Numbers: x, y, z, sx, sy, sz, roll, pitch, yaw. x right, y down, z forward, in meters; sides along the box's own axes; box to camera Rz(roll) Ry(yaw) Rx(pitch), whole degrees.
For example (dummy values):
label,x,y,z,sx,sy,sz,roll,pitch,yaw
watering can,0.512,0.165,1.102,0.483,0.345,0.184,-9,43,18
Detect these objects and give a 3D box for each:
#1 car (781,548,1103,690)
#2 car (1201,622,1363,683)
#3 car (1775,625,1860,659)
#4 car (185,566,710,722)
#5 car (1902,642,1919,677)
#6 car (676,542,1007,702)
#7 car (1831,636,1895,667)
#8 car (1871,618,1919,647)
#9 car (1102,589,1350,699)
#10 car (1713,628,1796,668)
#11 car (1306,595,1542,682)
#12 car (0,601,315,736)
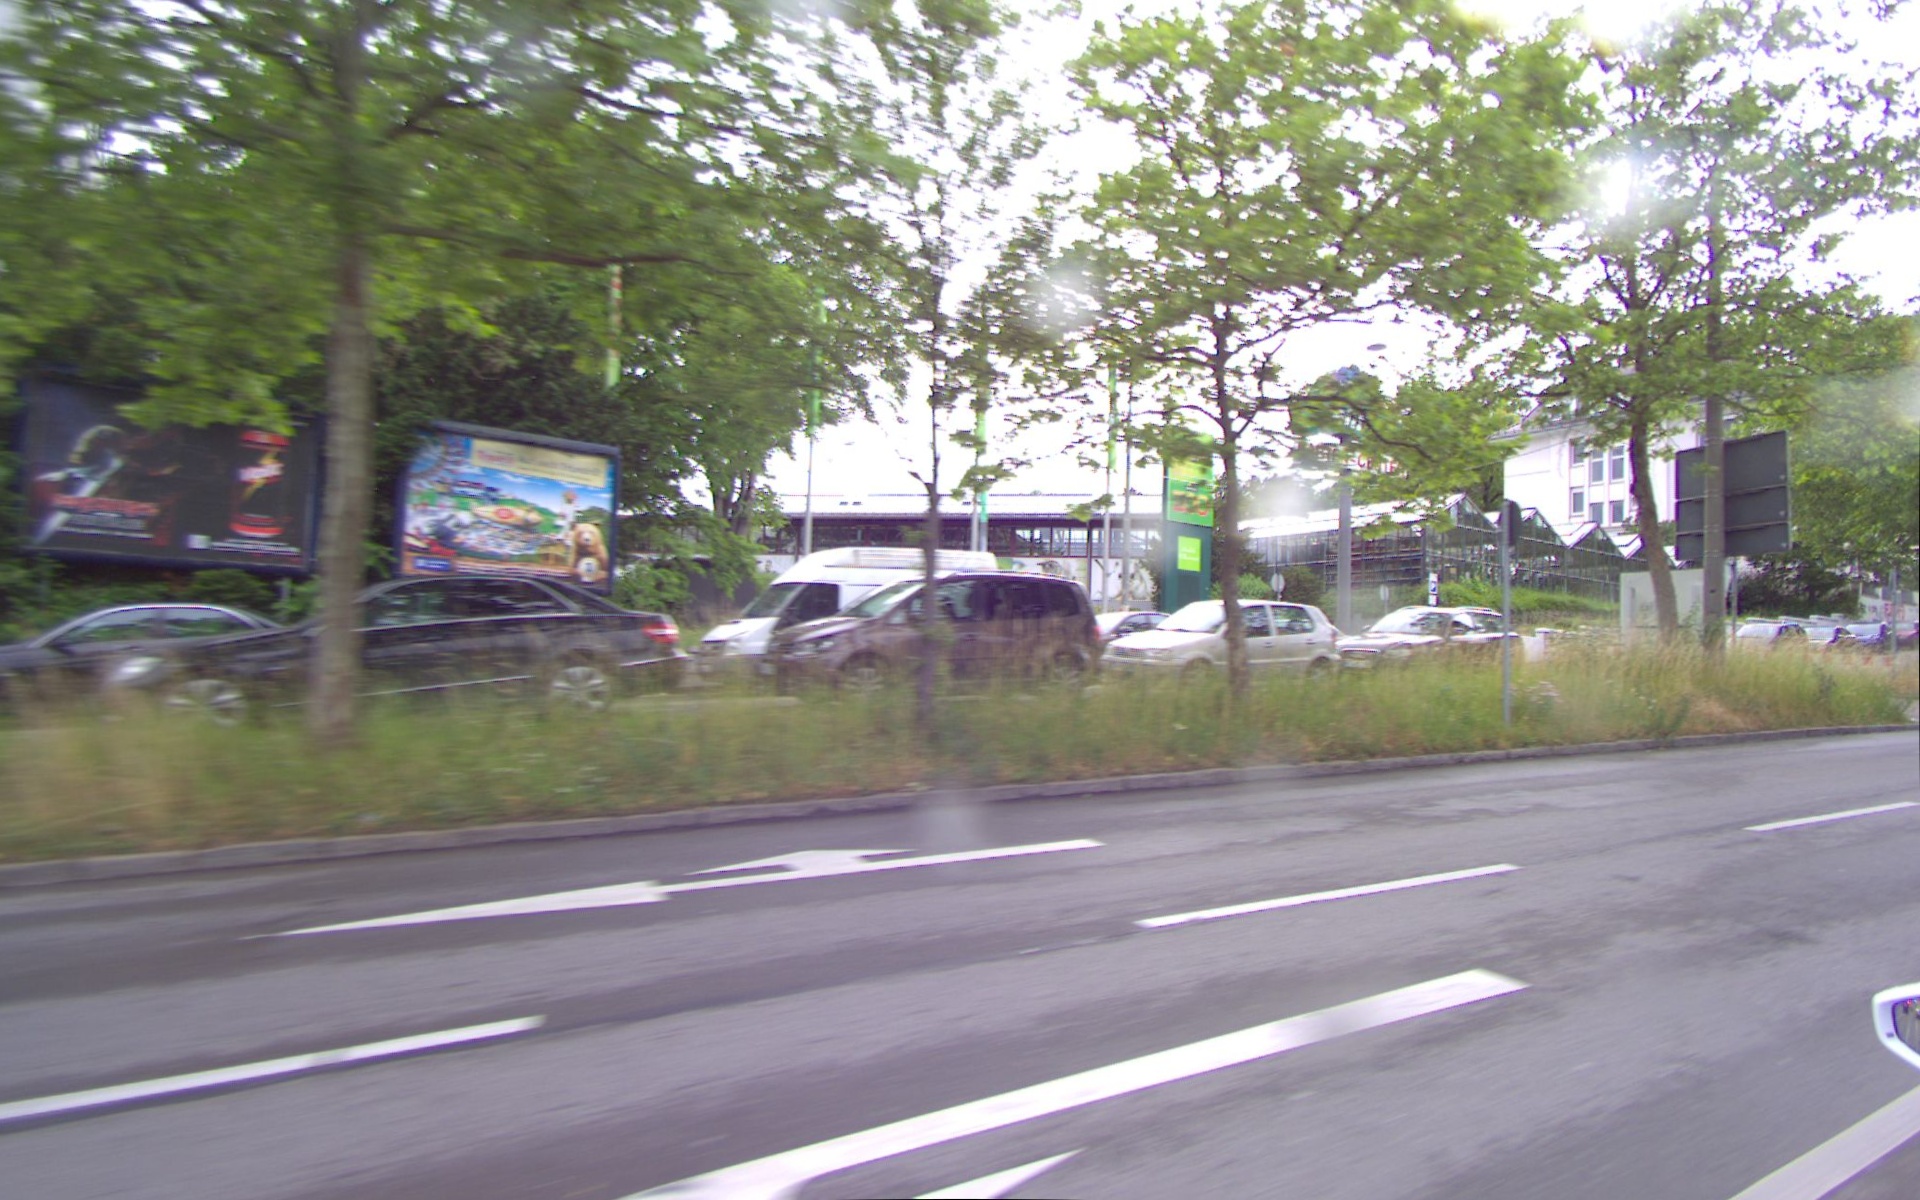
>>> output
label,x,y,z,sx,sy,sz,roll,pitch,yaw
car,-0.174,0.314,12.348,3.605,1.471,1.645,4,-4,-32
car,7.941,1.315,24.636,4.233,1.335,1.394,4,-4,-32
car,37.747,1.880,44.216,4.079,1.307,1.805,4,-4,-33
car,-4.711,0.413,9.704,4.169,1.221,1.690,1,-3,-30
car,33.041,2.023,33.828,2.724,1.145,1.342,4,-4,-33
car,-1.985,0.397,17.891,5.598,2.475,1.951,0,-2,-35
car,42.272,2.427,47.004,3.271,1.307,1.455,4,-4,-33
car,47.152,1.635,50.367,3.051,1.326,1.353,4,-4,-31
car,3.926,0.689,14.650,3.667,1.413,1.353,4,-4,-32
car,32.381,1.966,40.915,3.481,1.506,1.639,4,-4,-33
car,8.273,0.731,17.780,4.492,1.309,1.530,4,-4,-30
car,-10.048,0.834,12.174,3.643,1.475,1.621,4,-4,-32
